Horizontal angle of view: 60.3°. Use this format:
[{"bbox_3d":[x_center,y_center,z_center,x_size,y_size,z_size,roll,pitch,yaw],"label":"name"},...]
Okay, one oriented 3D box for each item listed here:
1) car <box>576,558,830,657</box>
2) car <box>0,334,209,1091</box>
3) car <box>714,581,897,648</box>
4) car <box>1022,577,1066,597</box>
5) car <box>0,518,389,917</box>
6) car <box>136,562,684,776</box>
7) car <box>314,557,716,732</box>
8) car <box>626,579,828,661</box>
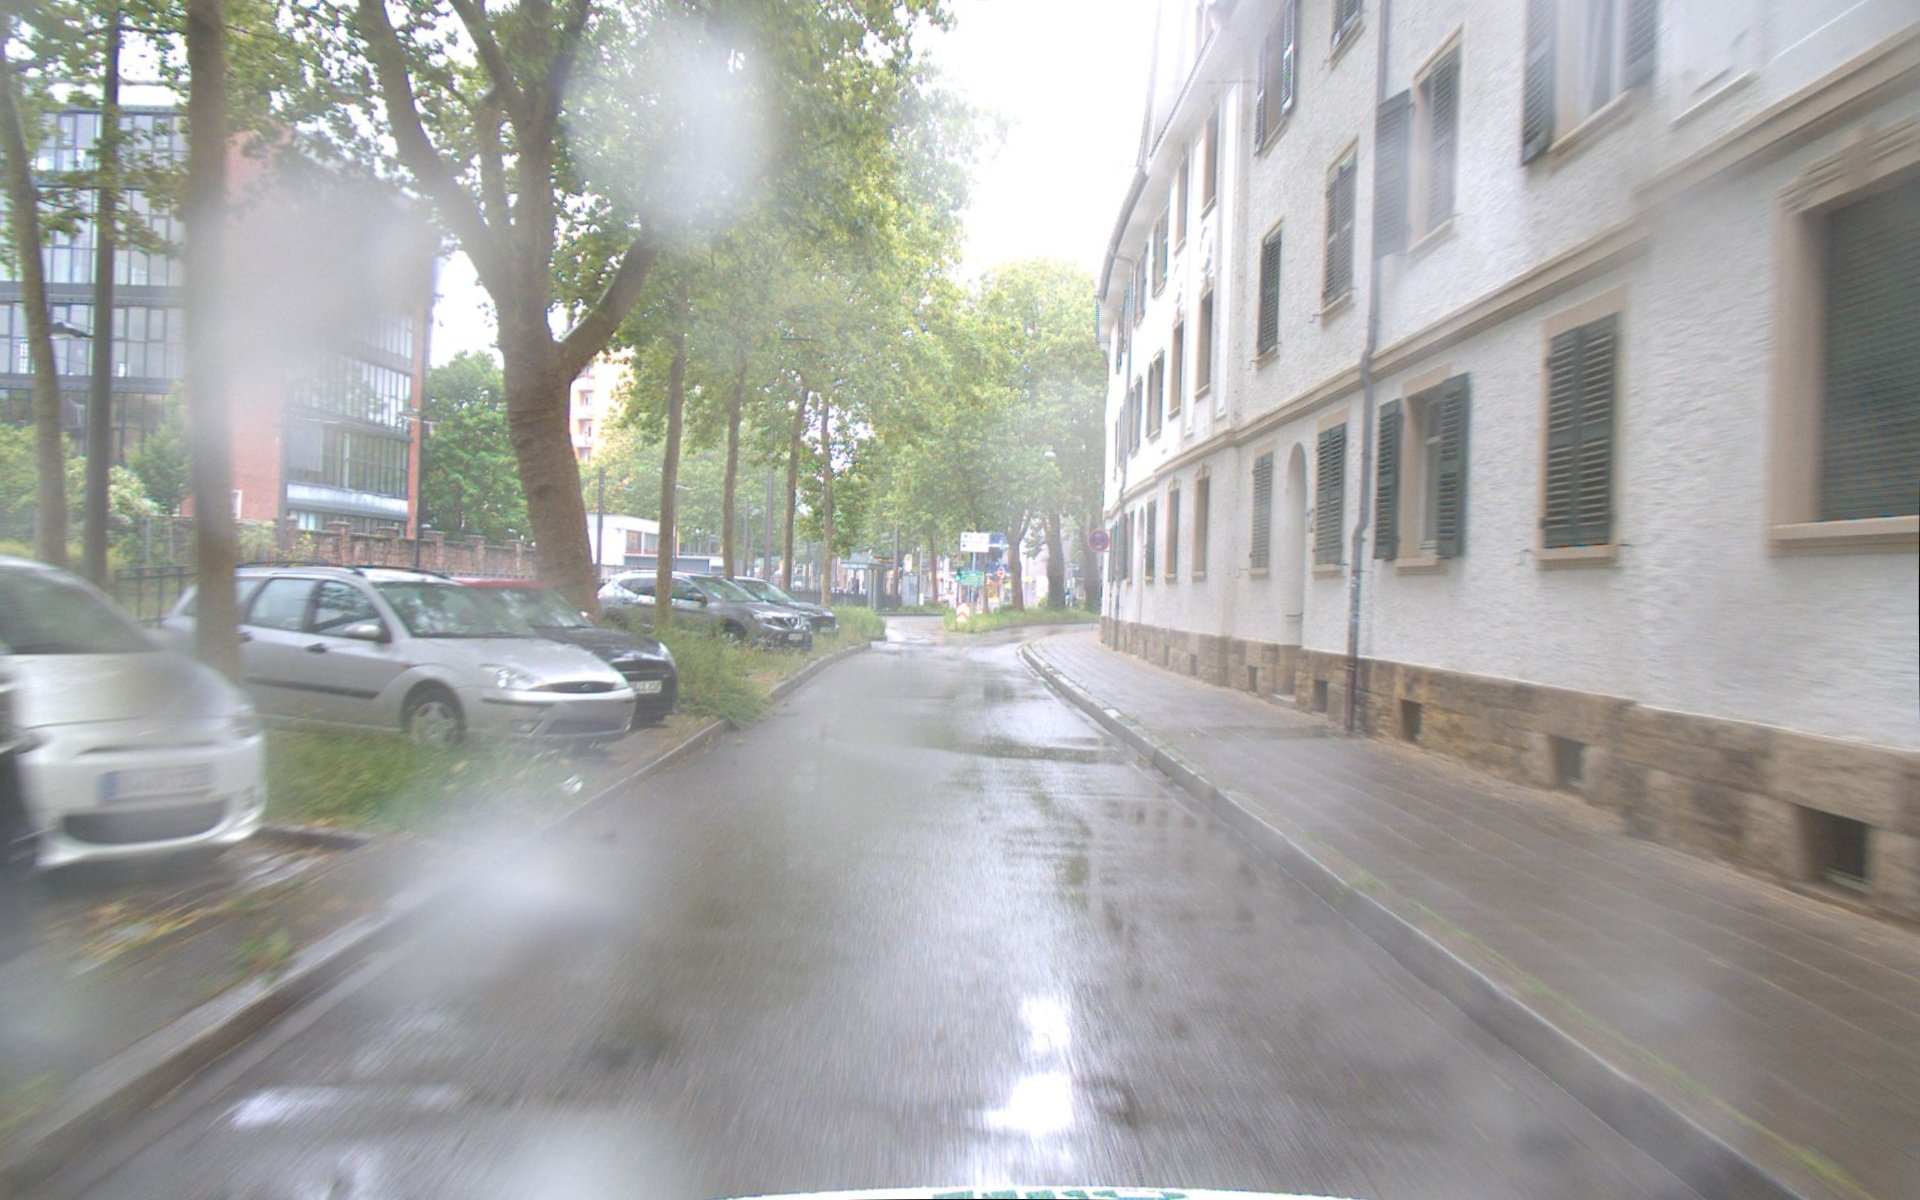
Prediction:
[{"bbox_3d":[-4.818,0.098,30.968,4.371,1.624,1.922,2,2,26],"label":"car"},{"bbox_3d":[-4.929,0.267,5.280,5.020,2.012,2.099,1,1,30],"label":"car"},{"bbox_3d":[-3.927,0.325,41.866,4.270,1.538,1.957,1,3,31],"label":"car"},{"bbox_3d":[8.026,-1.234,158.042,3.968,1.625,1.969,3,0,-43],"label":"car"},{"bbox_3d":[-4.697,0.410,7.935,3.704,1.508,1.719,1,1,30],"label":"car"},{"bbox_3d":[-4.596,0.456,13.650,4.460,1.508,1.772,1,1,29],"label":"car"},{"bbox_3d":[-4.419,0.359,16.339,3.734,1.547,1.719,1,1,30],"label":"car"},{"bbox_3d":[-5.497,0.419,38.894,4.434,1.744,1.957,1,3,31],"label":"car"}]
